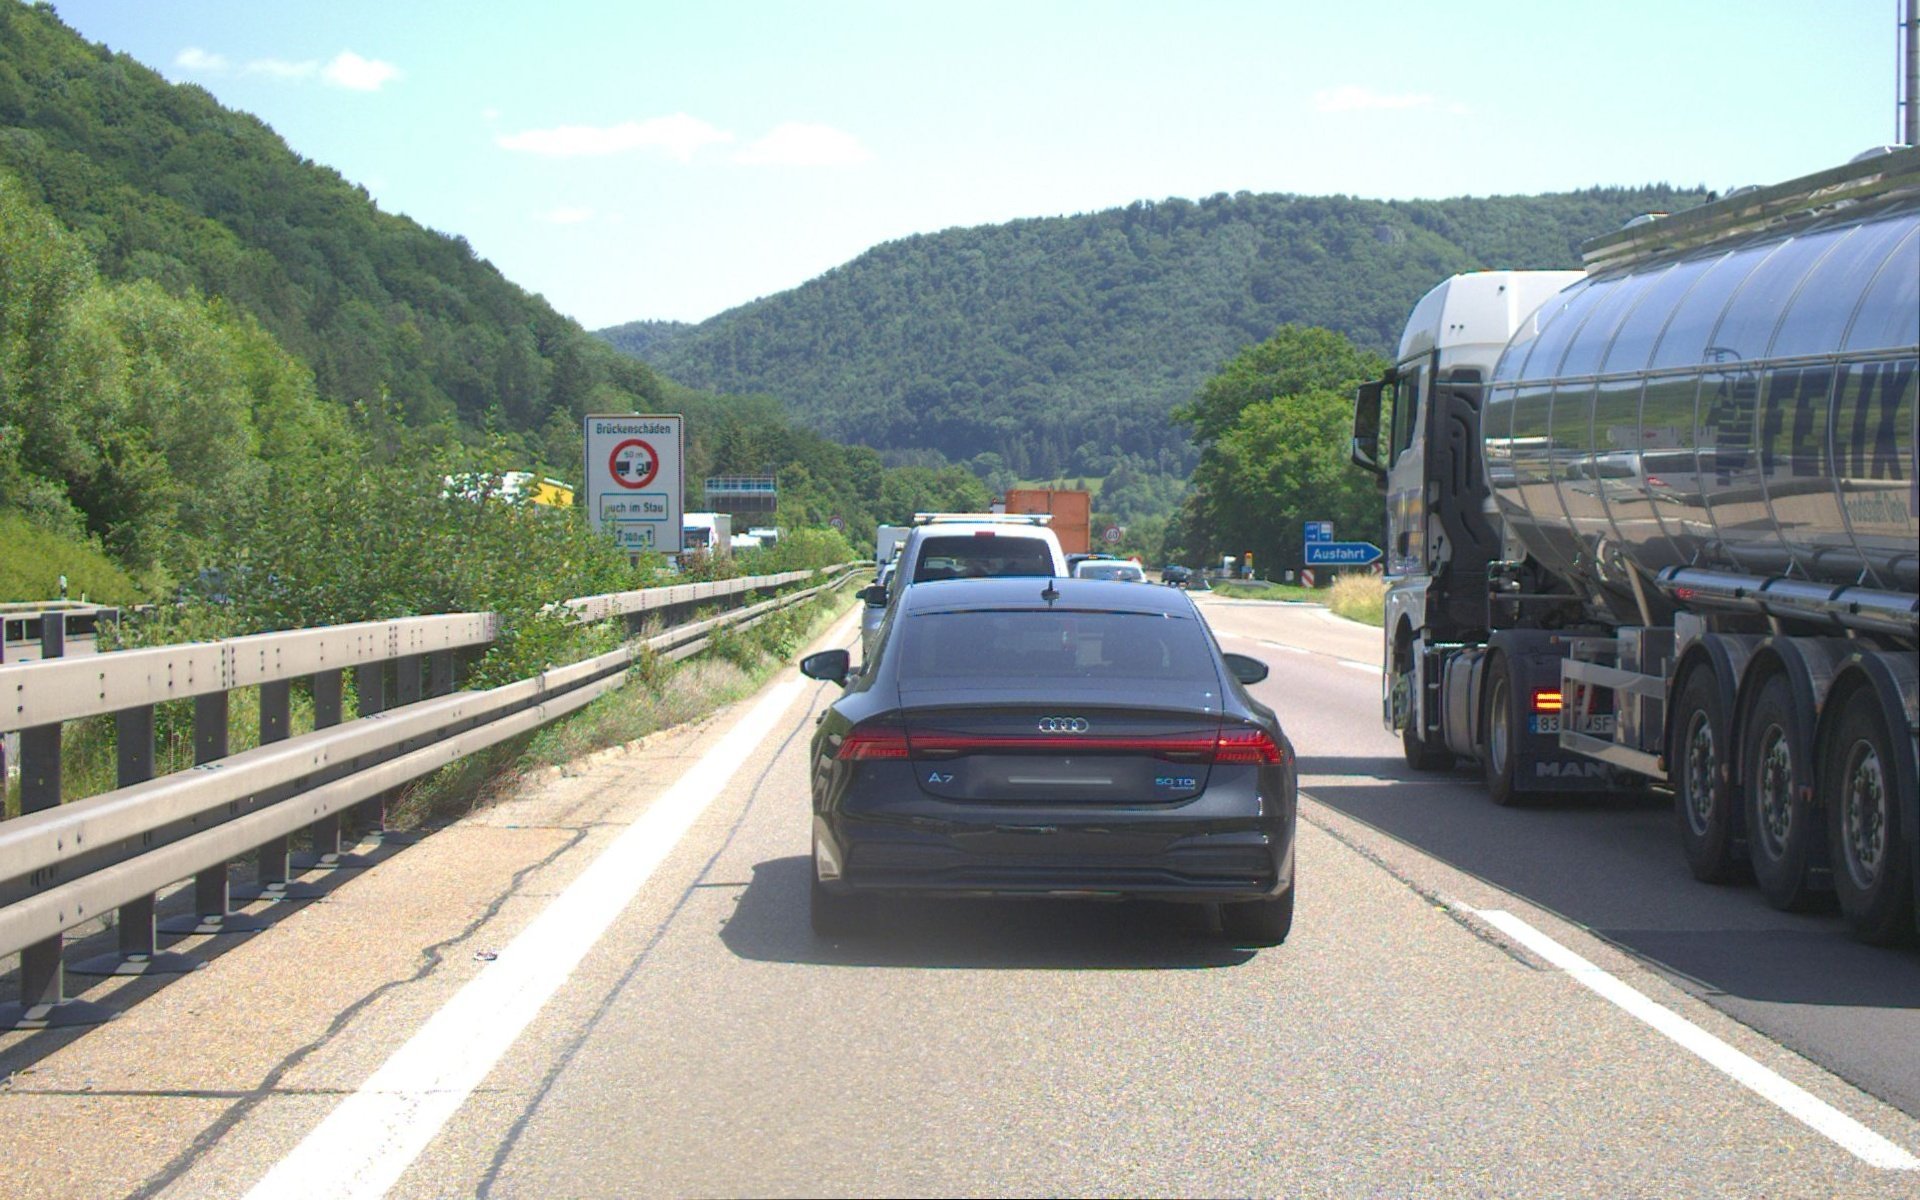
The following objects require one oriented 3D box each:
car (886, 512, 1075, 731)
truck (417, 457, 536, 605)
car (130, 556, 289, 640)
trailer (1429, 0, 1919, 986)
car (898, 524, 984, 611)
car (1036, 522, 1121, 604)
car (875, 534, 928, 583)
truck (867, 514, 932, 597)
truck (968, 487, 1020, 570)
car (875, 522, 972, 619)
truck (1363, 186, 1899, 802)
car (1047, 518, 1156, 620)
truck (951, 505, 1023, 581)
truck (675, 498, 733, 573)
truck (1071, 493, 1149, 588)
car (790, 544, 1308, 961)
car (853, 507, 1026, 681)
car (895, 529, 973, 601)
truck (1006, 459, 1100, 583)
[{"bbox_3d":[0.144,0.149,30.938,1.576,1.827,4.000,1,1,-1],"label":"car"},{"bbox_3d":[-13.642,-1.946,97.430,2.547,4.076,5.850,0,1,0],"label":"truck"},{"bbox_3d":[-13.460,-0.062,61.883,1.869,1.415,4.433,-1,1,0],"label":"car"},{"bbox_3d":[4.585,-0.553,17.198,2.538,3.722,11.892,1,1,-1],"label":"trailer"},{"bbox_3d":[-0.485,-0.787,82.157,1.993,2.007,4.000,0,1,-1],"label":"car"},{"bbox_3d":[2.943,-0.931,86.032,1.993,1.996,4.000,0,1,0],"label":"car"},{"bbox_3d":[-1.959,-1.415,116.125,1.712,1.613,4.000,0,1,0],"label":"car"},{"bbox_3d":[-2.575,-1.947,148.312,2.628,3.429,11.421,0,1,0],"label":"truck"},{"bbox_3d":[1.426,-3.050,148.671,1.993,3.435,11.812,1,1,-1],"label":"truck"},{"bbox_3d":[-0.793,-0.638,72.734,1.993,2.007,4.000,0,1,-1],"label":"car"},{"bbox_3d":[4.424,-0.684,23.705,2.511,3.745,5.246,1,1,-1],"label":"truck"},{"bbox_3d":[2.843,-0.647,69.885,1.993,2.007,4.000,0,1,-1],"label":"car"},{"bbox_3d":[1.543,-3.454,207.481,3.793,4.399,14.956,0,1,-1],"label":"truck"},{"bbox_3d":[-14.003,-3.528,188.425,2.728,3.988,5.370,-1,1,0],"label":"truck"},{"bbox_3d":[6.600,-2.651,153.436,2.817,3.989,14.956,1,1,0],"label":"truck"},{"bbox_3d":[0.234,0.518,14.404,1.849,1.483,4.083,1,1,-2],"label":"car"},{"bbox_3d":[-0.266,-0.097,42.088,1.993,2.007,4.000,1,1,-1],"label":"car"},{"bbox_3d":[-0.578,-0.818,78.803,1.712,1.613,4.000,0,1,0],"label":"car"},{"bbox_3d":[3.103,-2.662,118.334,2.817,3.989,14.956,1,1,0],"label":"truck"}]
